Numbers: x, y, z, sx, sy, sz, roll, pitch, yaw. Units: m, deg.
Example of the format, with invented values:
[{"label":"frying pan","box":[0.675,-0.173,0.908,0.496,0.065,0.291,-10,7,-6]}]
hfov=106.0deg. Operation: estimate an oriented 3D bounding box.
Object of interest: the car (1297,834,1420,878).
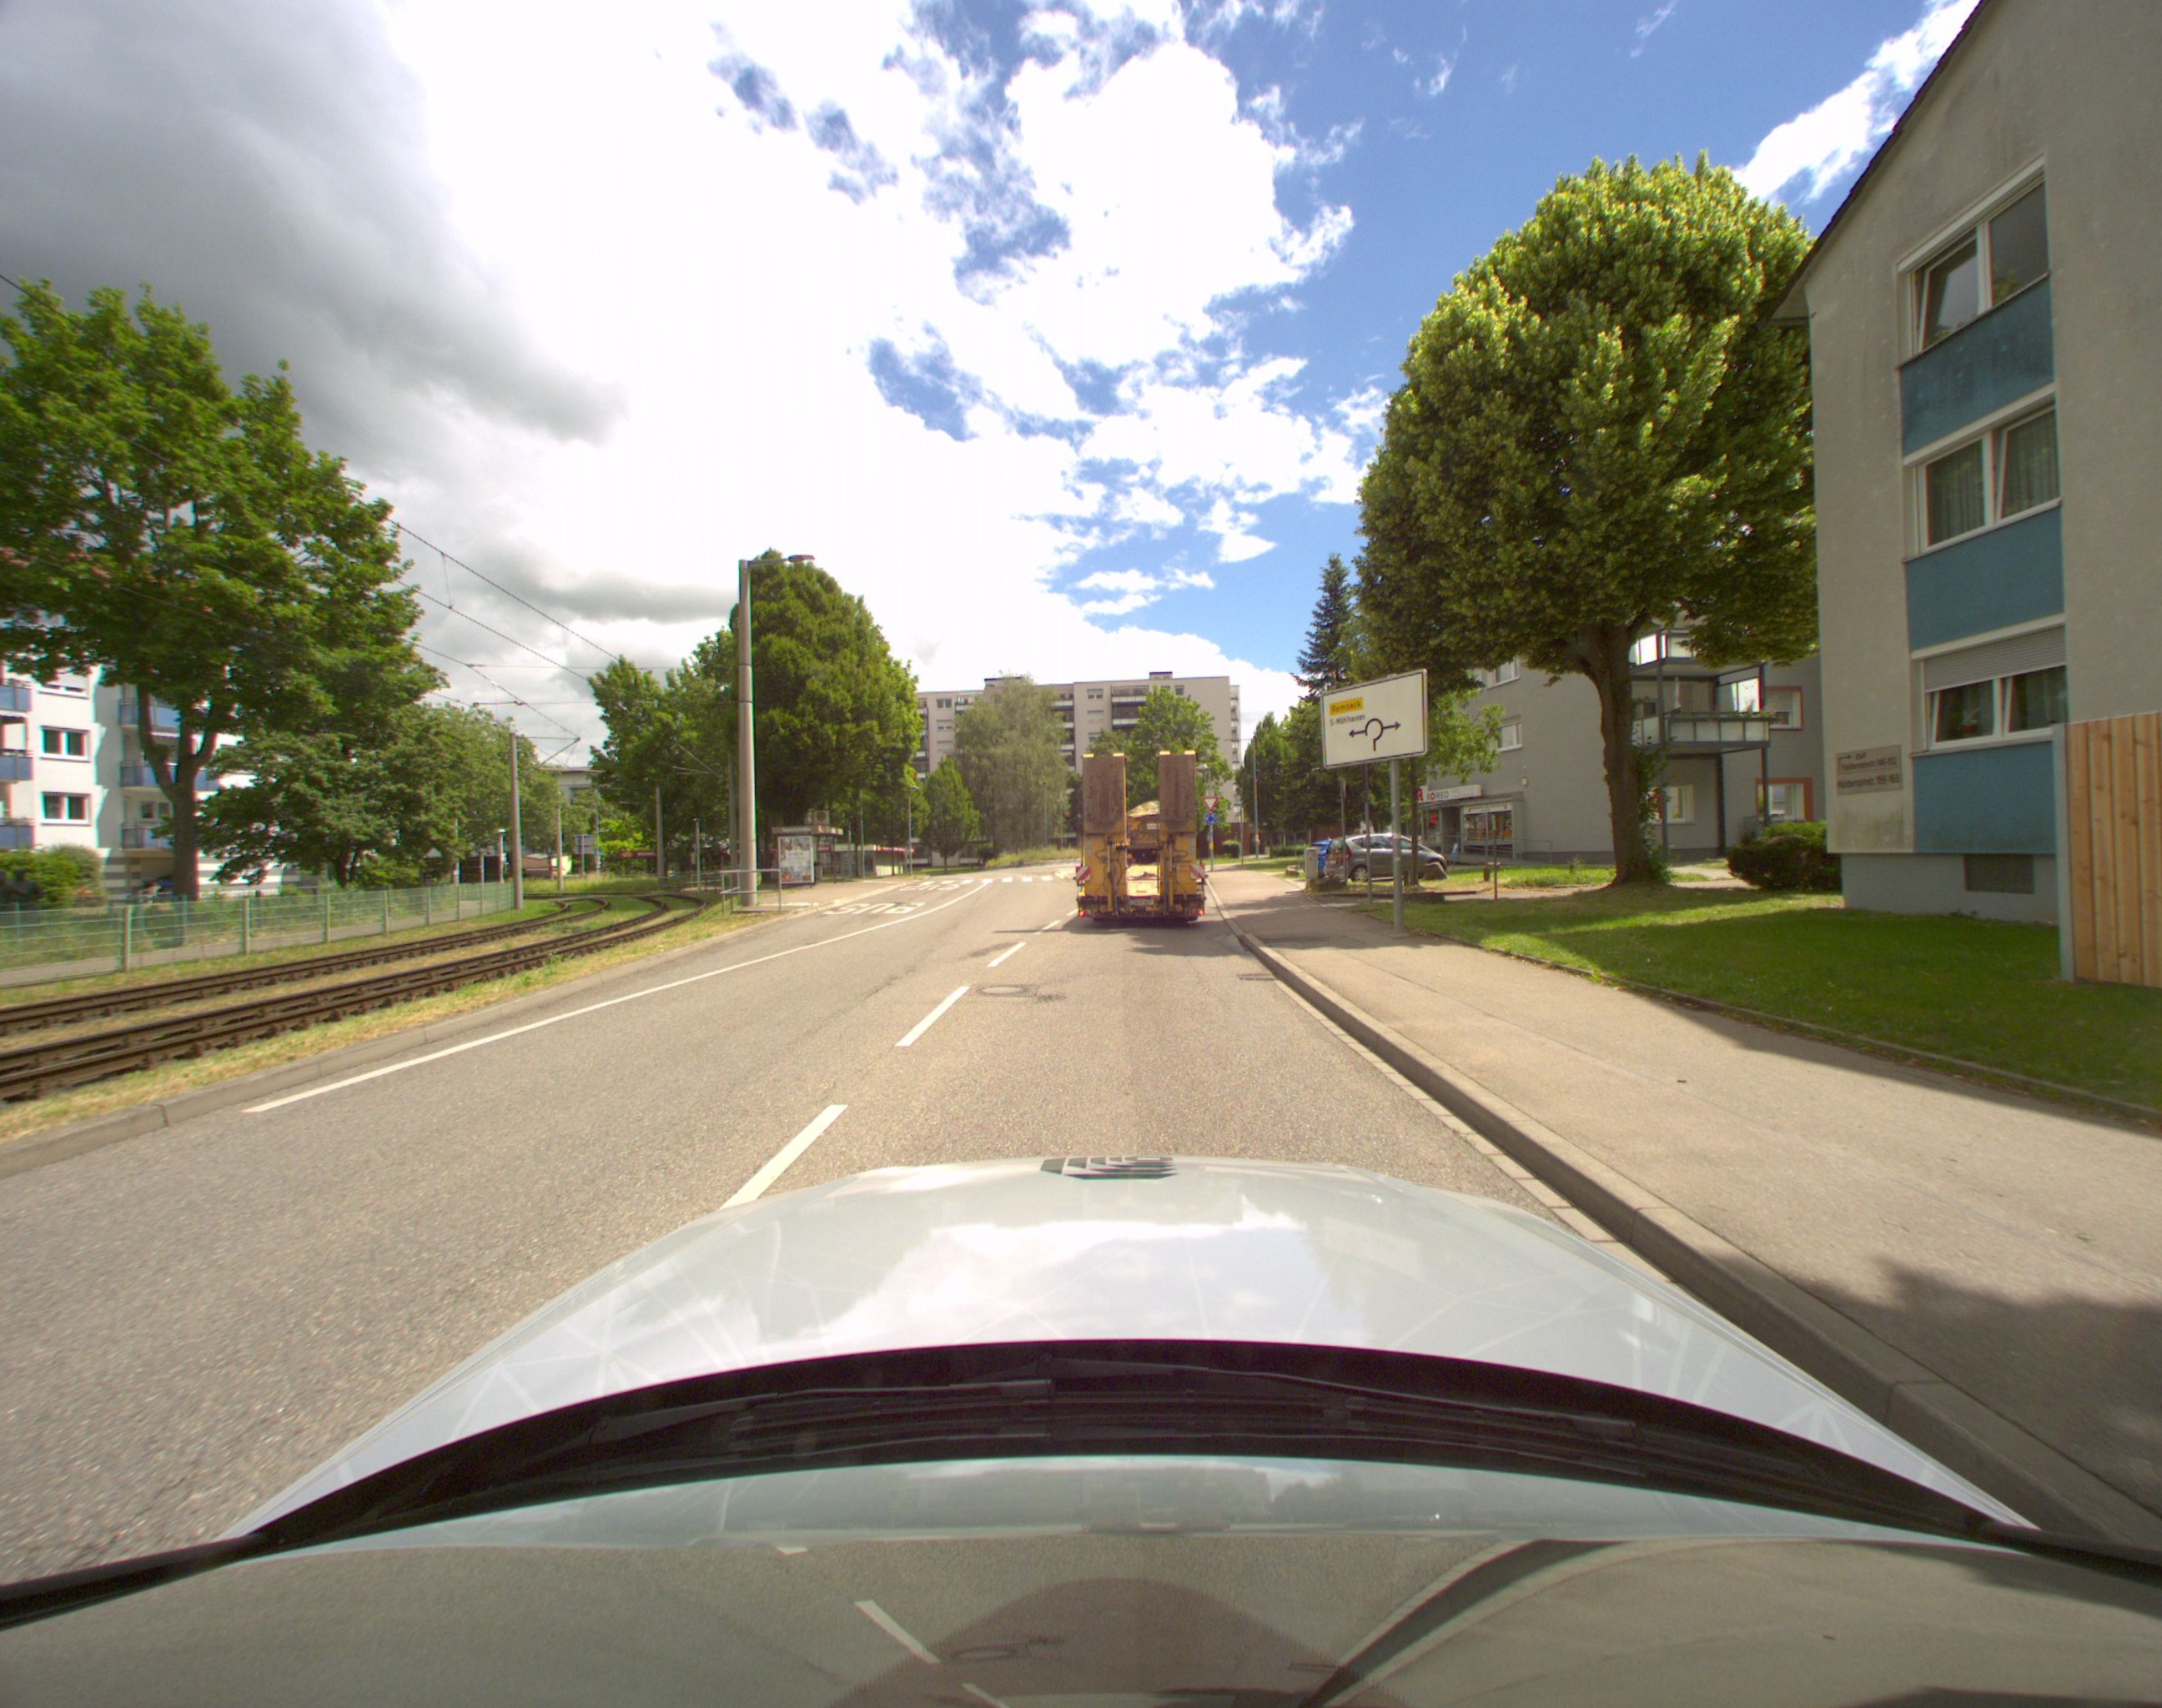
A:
[{"label":"car","box":[10.217,0.052,30.078,3.988,1.561,1.753,0,0,-11]}]

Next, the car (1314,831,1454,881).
[{"label":"car","box":[9.880,0.035,26.663,3.988,1.561,1.753,0,0,-11]}]

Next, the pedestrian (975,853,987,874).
[{"label":"pedestrian","box":[-9.837,0.942,79.867,0.913,2.013,0.953,0,0,-29]}]

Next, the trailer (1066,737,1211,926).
[{"label":"trailer","box":[1.933,-0.488,22.010,2.811,3.645,12.381,0,0,8]}]
